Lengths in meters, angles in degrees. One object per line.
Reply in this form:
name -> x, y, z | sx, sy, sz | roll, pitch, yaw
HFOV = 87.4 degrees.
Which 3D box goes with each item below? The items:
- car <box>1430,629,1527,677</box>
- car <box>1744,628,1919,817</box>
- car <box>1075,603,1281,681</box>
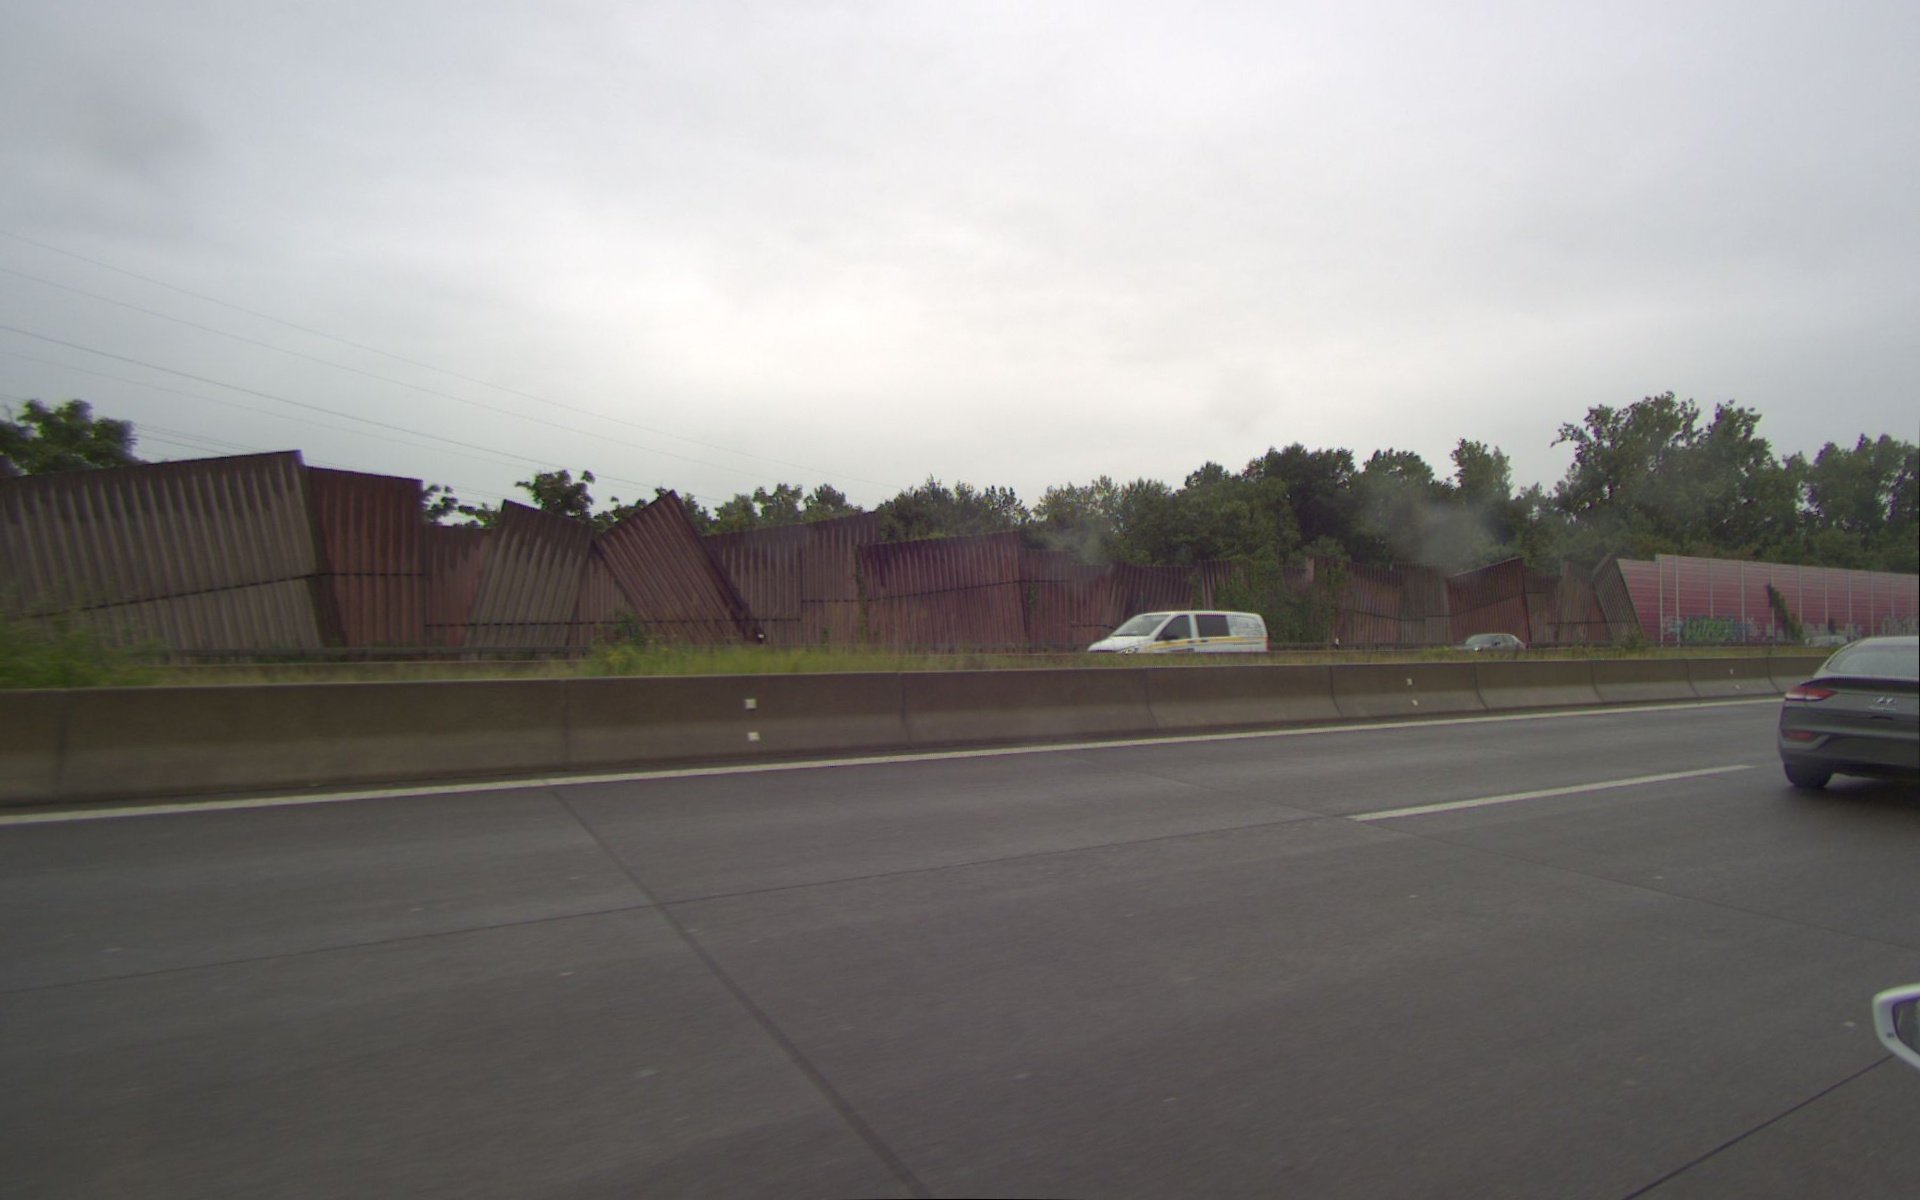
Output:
car -> 23.051, 2.319, 44.654 | 3.952, 2.040, 1.985 | 1, -1, -30
car -> 9.290, 0.997, 9.191 | 4.772, 1.421, 1.717 | 1, 0, -30
car -> 5.588, 1.035, 25.510 | 5.150, 1.808, 1.983 | 1, -1, -31
